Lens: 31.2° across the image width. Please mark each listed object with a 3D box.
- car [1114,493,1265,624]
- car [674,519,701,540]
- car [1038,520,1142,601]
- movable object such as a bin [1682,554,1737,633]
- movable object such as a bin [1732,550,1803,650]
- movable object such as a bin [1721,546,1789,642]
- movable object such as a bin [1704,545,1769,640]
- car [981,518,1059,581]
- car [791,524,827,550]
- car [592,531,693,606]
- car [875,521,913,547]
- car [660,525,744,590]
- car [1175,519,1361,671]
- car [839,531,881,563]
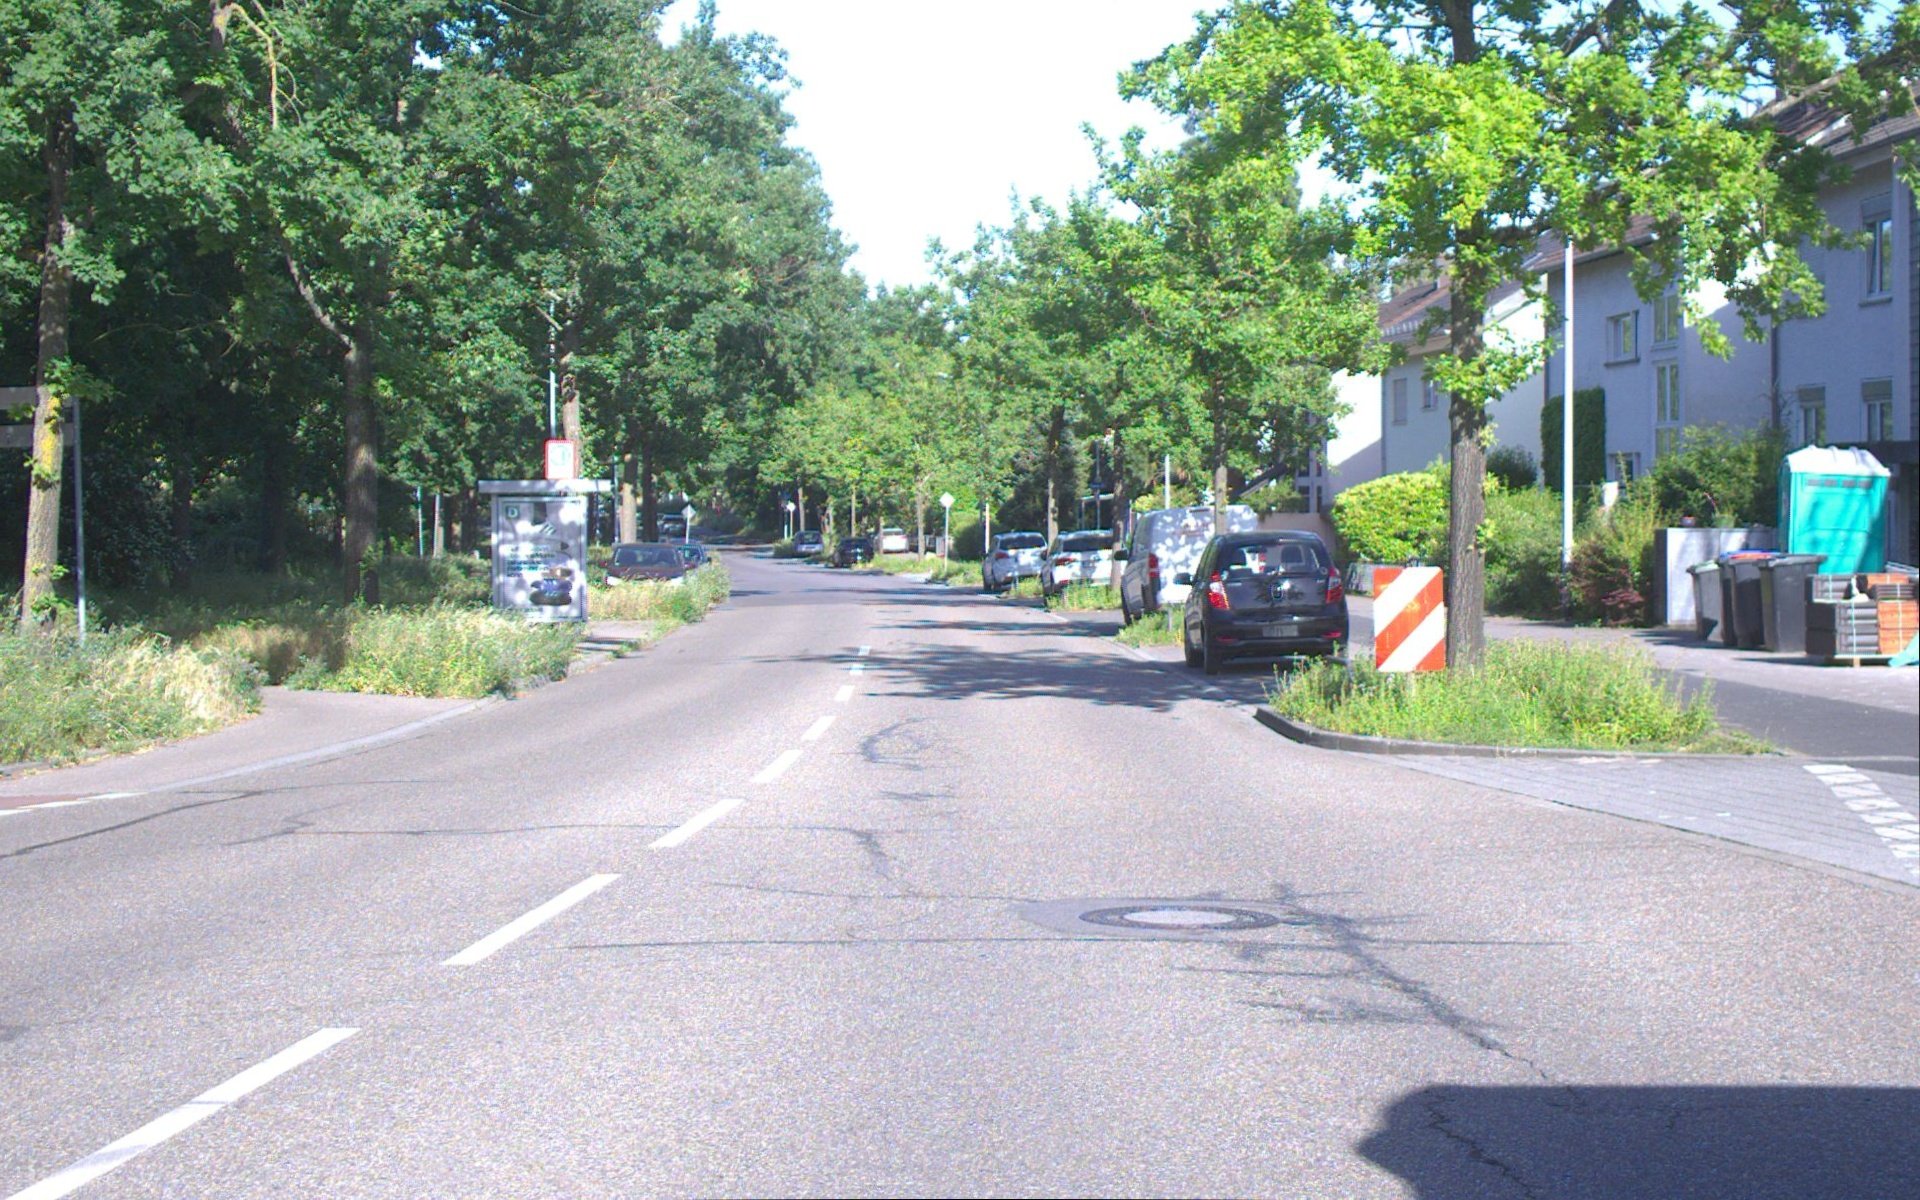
[{"bbox_3d":[3.547,-0.664,53.906,1.835,1.964,4.759,0,1,-3],"label":"car"},{"bbox_3d":[-19.624,-5.083,247.628,1.933,1.449,4.001,0,1,-4],"label":"car"},{"bbox_3d":[2.779,-0.878,74.289,1.935,1.698,4.001,0,1,-3],"label":"car"},{"bbox_3d":[8.938,-0.085,41.002,0.529,0.929,0.549,0,1,-1],"label":"movable object such as a bin"},{"bbox_3d":[8.753,-0.004,37.291,0.603,1.065,0.646,0,1,-1],"label":"movable object such as a bin"},{"bbox_3d":[8.849,-0.071,38.285,0.603,1.065,0.646,0,1,-1],"label":"movable object such as a bin"},{"bbox_3d":[8.832,-0.089,39.111,0.603,1.065,0.567,0,1,-1],"label":"movable object such as a bin"},{"bbox_3d":[1.668,-1.429,96.900,1.933,1.736,4.001,0,1,-3],"label":"car"},{"bbox_3d":[-8.507,-3.544,193.912,1.933,1.449,4.001,0,1,-4],"label":"car"},{"bbox_3d":[-6.389,-0.659,69.529,1.935,1.474,4.001,0,1,-4],"label":"car"},{"bbox_3d":[-3.703,-3.668,191.948,1.933,1.449,4.001,0,1,-4],"label":"car"},{"bbox_3d":[-6.413,-1.073,85.177,1.993,1.551,4.001,1,1,-5],"label":"car"},{"bbox_3d":[3.404,-0.092,38.588,1.672,1.573,3.752,-2,1,0],"label":"car"},{"bbox_3d":[-4.835,-2.579,165.904,1.933,1.537,4.001,0,1,-3],"label":"car"}]
